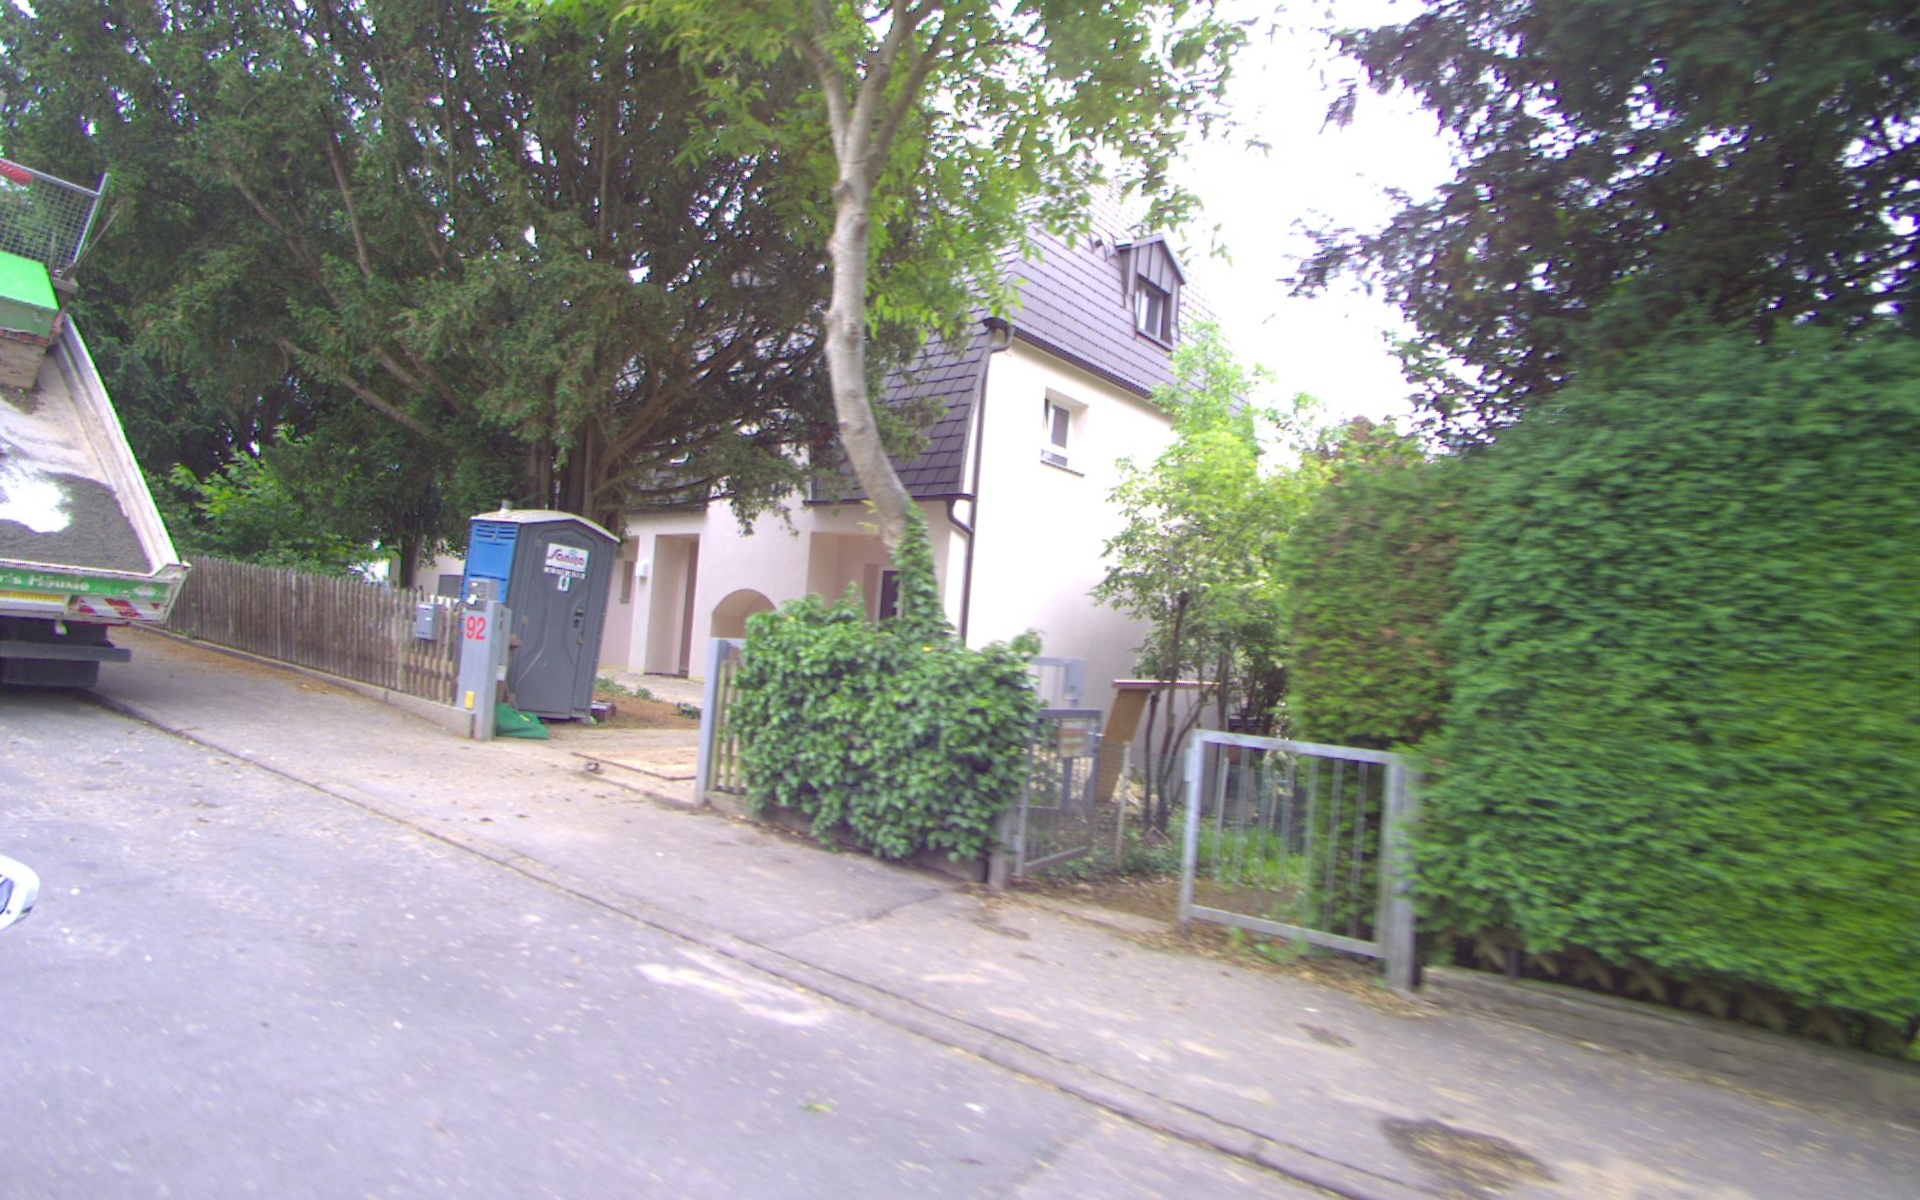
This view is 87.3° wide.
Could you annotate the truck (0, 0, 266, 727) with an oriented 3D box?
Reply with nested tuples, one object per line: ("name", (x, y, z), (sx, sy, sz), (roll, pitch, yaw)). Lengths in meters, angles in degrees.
("truck", (-9.212, -1.892, 8.481), (7.070, 4.803, 2.529), (6, -2, 33))
